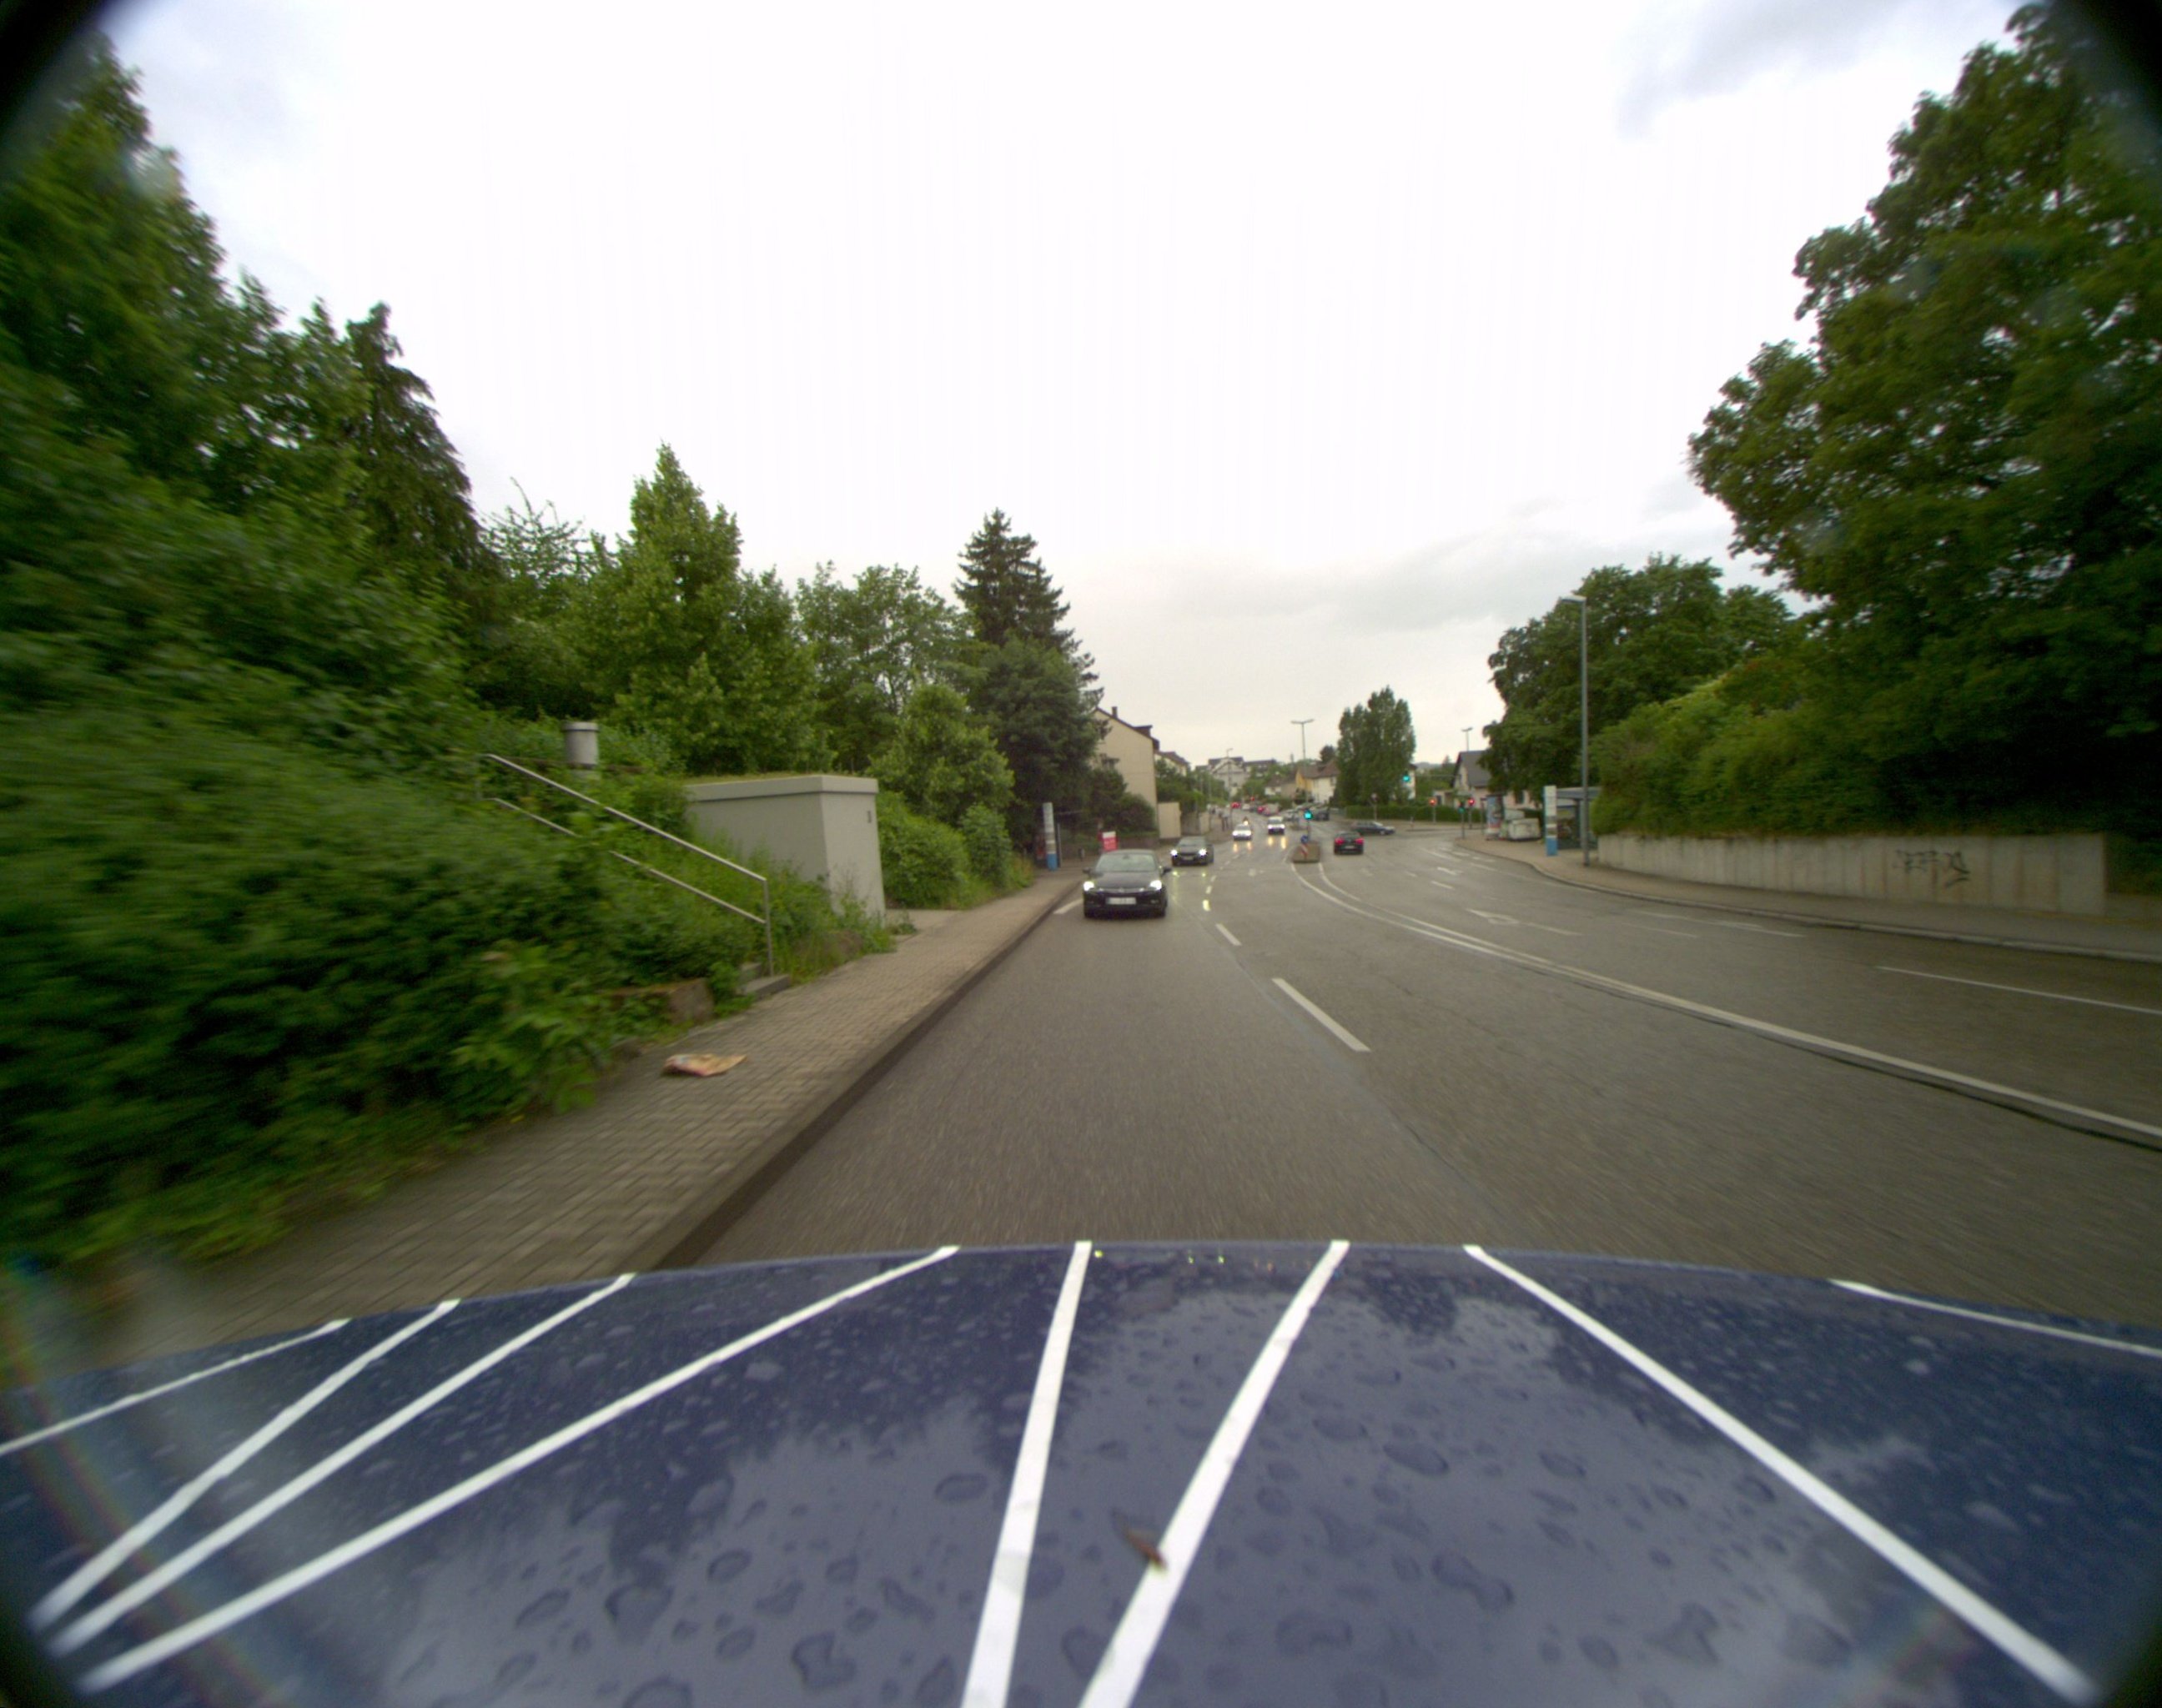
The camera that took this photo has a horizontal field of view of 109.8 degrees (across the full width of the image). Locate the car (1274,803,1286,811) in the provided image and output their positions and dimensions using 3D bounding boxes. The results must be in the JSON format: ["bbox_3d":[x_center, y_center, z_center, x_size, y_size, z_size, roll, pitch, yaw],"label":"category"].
[{"bbox_3d":[42.004,-9.963,160.504,1.808,1.408,3.999,-1,5,8],"label":"car"}]

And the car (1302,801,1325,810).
[{"bbox_3d":[45.974,-9.604,150.437,4.107,1.413,1.884,-4,5,8],"label":"car"}]

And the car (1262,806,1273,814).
[{"bbox_3d":[37.100,-8.786,150.988,1.844,1.544,4.383,-1,4,9],"label":"car"}]

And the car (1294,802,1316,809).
[{"bbox_3d":[46.099,-9.952,156.384,4.109,1.476,1.839,1,4,0],"label":"car"}]

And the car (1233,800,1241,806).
[{"bbox_3d":[41.612,-13.609,203.212,1.715,1.495,3.998,-2,5,7],"label":"car"}]

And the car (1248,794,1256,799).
[{"bbox_3d":[54.100,-18.176,240.339,1.997,1.566,3.998,-2,5,8],"label":"car"}]

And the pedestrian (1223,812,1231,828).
[{"bbox_3d":[18.280,-4.244,95.095,0.798,2.004,0.734,-2,5,14],"label":"pedestrian"}]

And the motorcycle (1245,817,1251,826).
[{"bbox_3d":[22.090,-4.313,100.666,0.762,0.948,2.442,-1,5,13],"label":"motorcycle"}]

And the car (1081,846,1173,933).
[{"bbox_3d":[0.972,0.707,17.454,1.840,1.391,3.996,-2,5,1],"label":"car"}]

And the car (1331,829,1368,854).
[{"bbox_3d":[17.175,-0.816,48.766,1.894,1.479,4.237,-1,2,14],"label":"car"}]

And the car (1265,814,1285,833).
[{"bbox_3d":[21.848,-3.419,85.625,1.954,1.861,4.746,-1,5,11],"label":"car"}]

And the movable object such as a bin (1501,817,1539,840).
[{"bbox_3d":[31.357,-1.847,54.344,2.060,1.560,1.583,-1,3,19],"label":"movable object such as a bin"}]

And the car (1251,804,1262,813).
[{"bbox_3d":[38.228,-9.910,165.478,1.997,1.566,3.999,-1,5,9],"label":"car"}]

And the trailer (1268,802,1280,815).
[{"bbox_3d":[34.587,-8.164,136.102,1.899,2.168,4.037,-1,4,14],"label":"trailer"}]

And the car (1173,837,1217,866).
[{"bbox_3d":[6.256,-0.166,41.323,1.838,1.449,4.004,-1,1,16],"label":"car"}]

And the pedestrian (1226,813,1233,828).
[{"bbox_3d":[18.861,-4.274,96.635,0.795,1.772,1.011,0,6,14],"label":"pedestrian"}]

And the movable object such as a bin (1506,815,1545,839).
[{"bbox_3d":[30.858,-1.884,52.818,2.060,1.560,1.583,-1,3,19],"label":"movable object such as a bin"}]

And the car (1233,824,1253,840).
[{"bbox_3d":[16.356,-2.235,77.017,1.839,1.473,4.000,-1,3,10],"label":"car"}]

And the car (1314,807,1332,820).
[{"bbox_3d":[36.097,-6.037,113.258,1.808,1.661,4.597,-2,5,8],"label":"car"}]

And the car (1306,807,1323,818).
[{"bbox_3d":[36.692,-6.547,119.471,1.808,1.560,4.141,-2,5,8],"label":"car"}]

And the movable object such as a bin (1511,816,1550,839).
[{"bbox_3d":[30.377,-1.805,51.402,2.060,1.506,1.345,-1,3,19],"label":"movable object such as a bin"}]

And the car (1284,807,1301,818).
[{"bbox_3d":[32.908,-6.469,118.051,1.827,1.648,4.465,-1,4,6],"label":"car"}]

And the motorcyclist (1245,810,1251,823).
[{"bbox_3d":[22.072,-4.948,100.641,0.761,1.594,0.808,-1,6,13],"label":"motorcyclist"}]

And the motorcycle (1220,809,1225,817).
[{"bbox_3d":[25.698,-7.445,137.579,0.693,1.318,2.478,-2,5,6],"label":"motorcycle"}]

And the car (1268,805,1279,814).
[{"bbox_3d":[35.625,-8.232,140.249,1.902,1.674,4.481,-1,4,15],"label":"car"}]

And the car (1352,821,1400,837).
[{"bbox_3d":[29.081,-2.467,75.011,4.047,1.480,1.843,1,6,36],"label":"car"}]

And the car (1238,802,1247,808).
[{"bbox_3d":[41.292,-12.550,194.773,1.857,1.456,3.999,-2,4,7],"label":"car"}]

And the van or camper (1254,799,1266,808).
[{"bbox_3d":[44.148,-12.443,187.207,2.188,2.004,5.132,-2,5,6],"label":"van or camper"}]

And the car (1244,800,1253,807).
[{"bbox_3d":[39.624,-11.954,180.152,1.839,1.548,4.769,-1,5,10],"label":"car"}]
